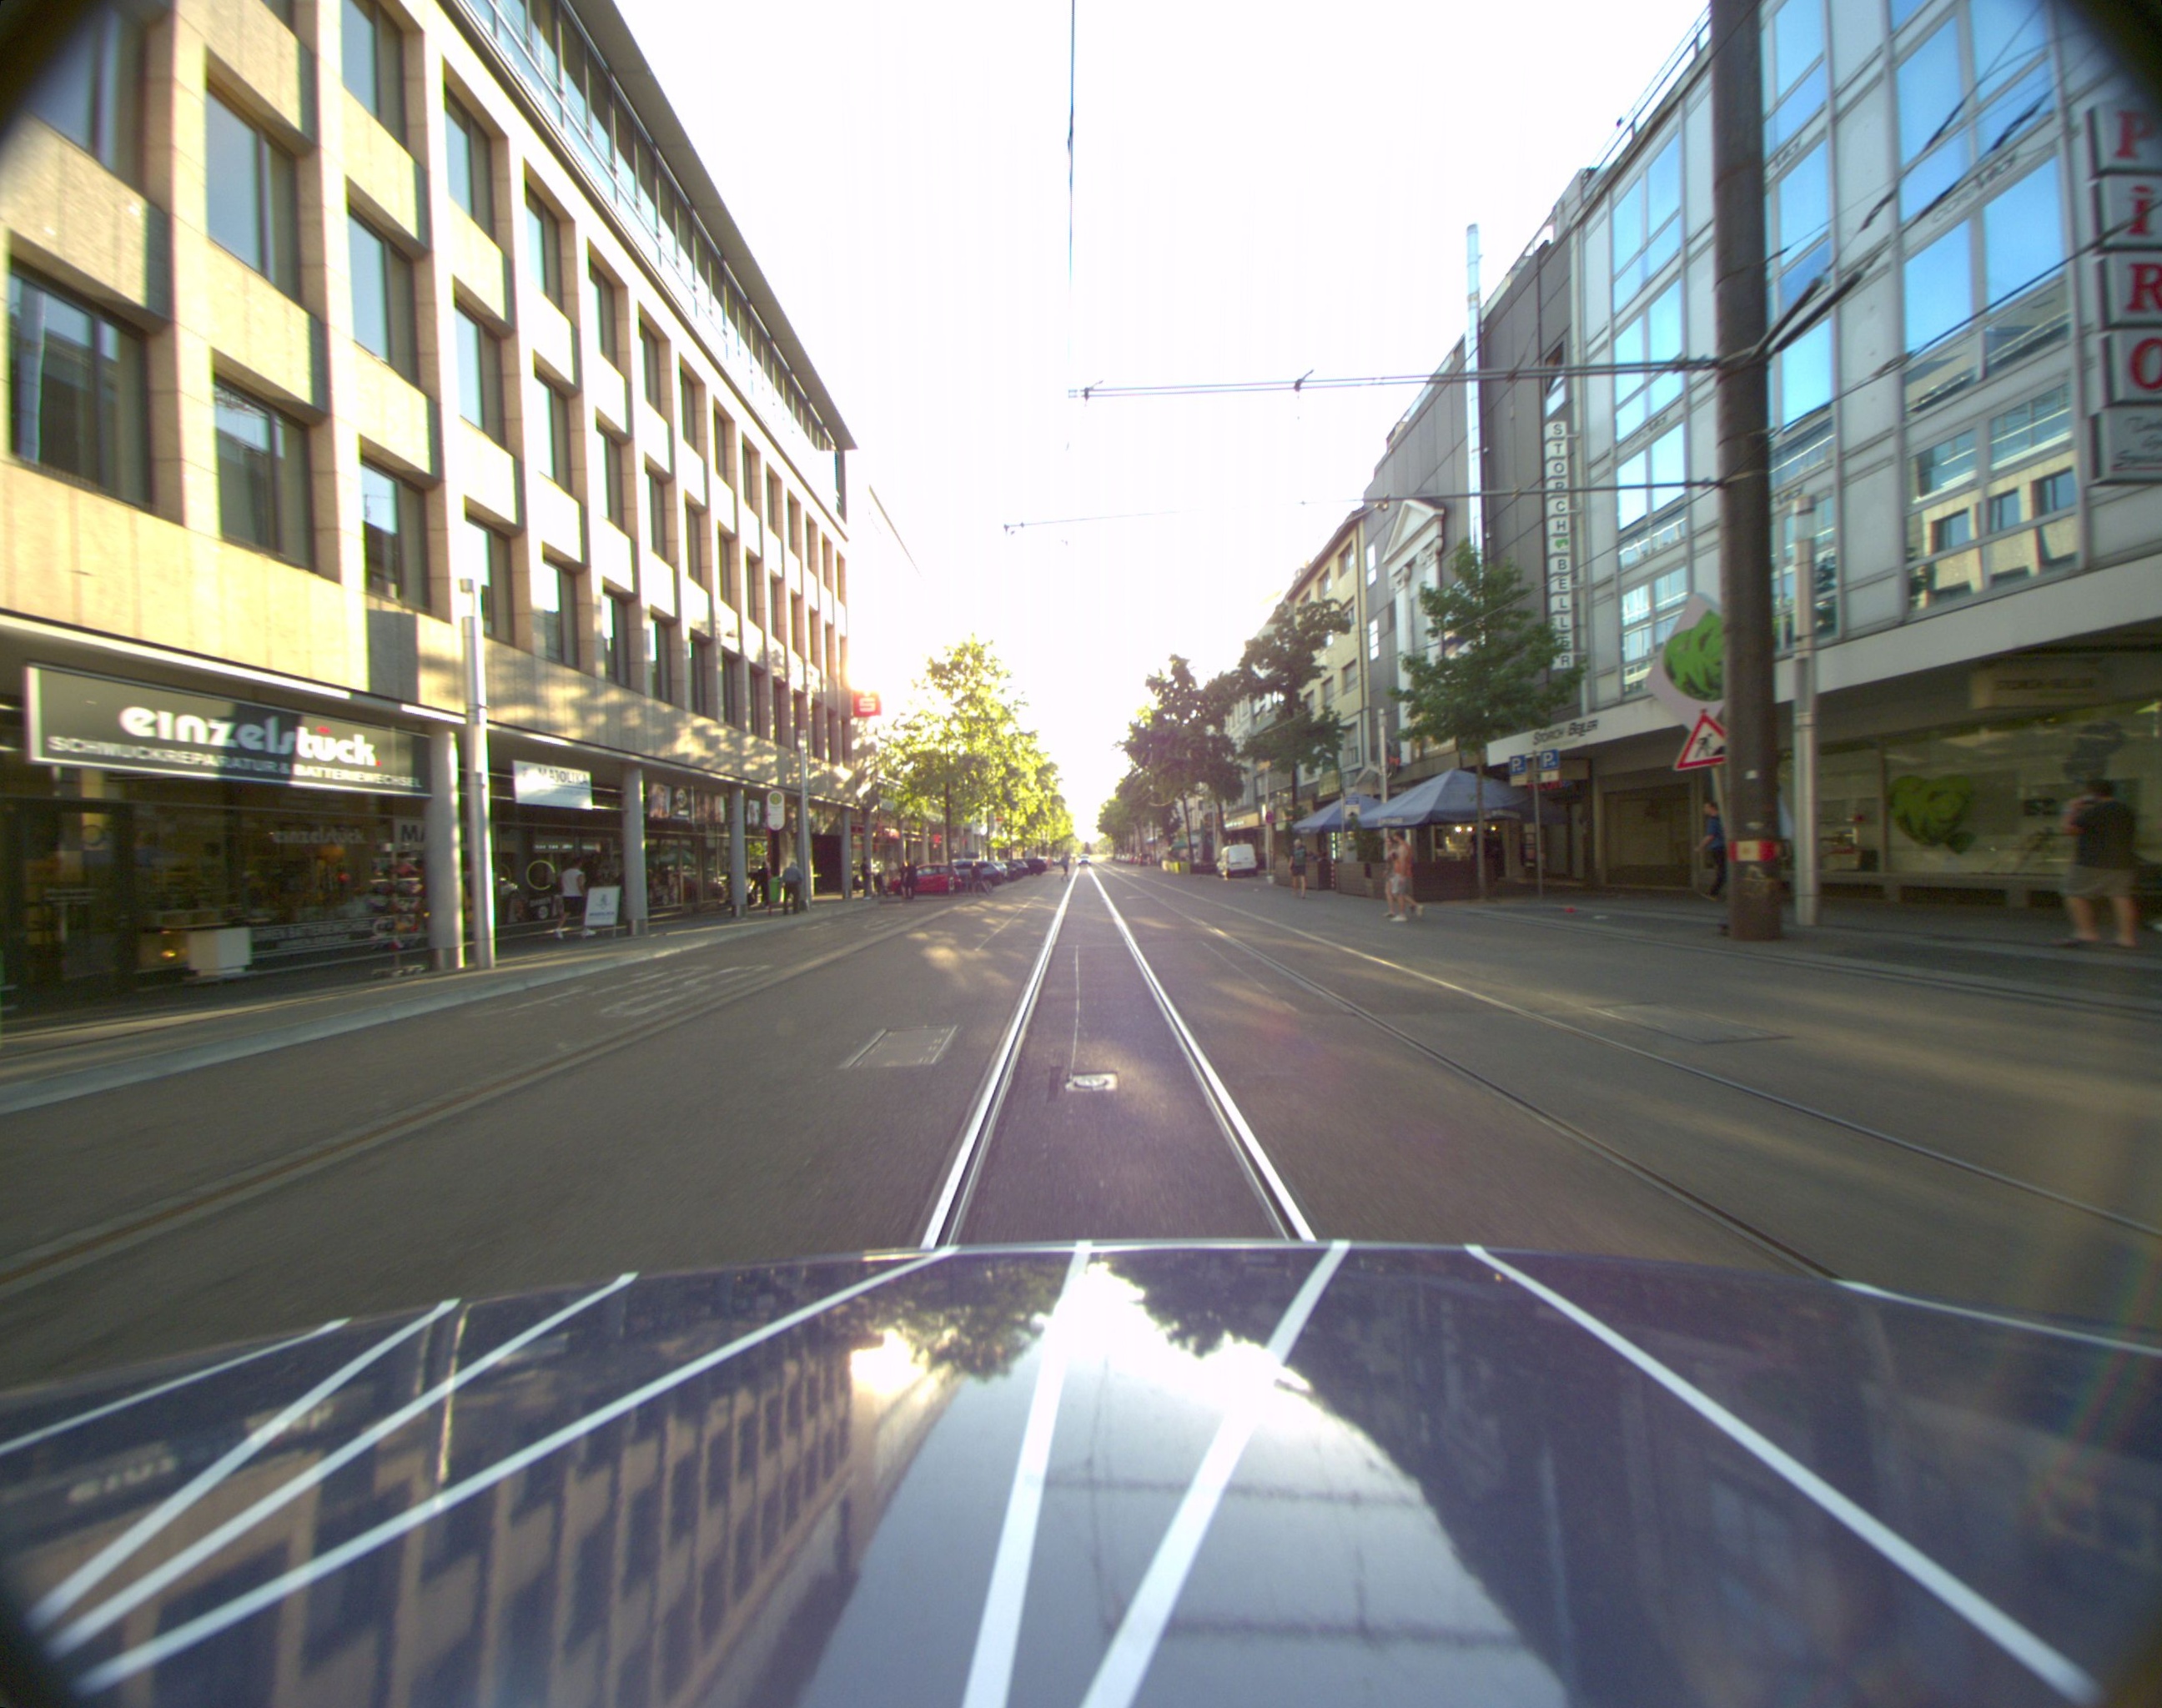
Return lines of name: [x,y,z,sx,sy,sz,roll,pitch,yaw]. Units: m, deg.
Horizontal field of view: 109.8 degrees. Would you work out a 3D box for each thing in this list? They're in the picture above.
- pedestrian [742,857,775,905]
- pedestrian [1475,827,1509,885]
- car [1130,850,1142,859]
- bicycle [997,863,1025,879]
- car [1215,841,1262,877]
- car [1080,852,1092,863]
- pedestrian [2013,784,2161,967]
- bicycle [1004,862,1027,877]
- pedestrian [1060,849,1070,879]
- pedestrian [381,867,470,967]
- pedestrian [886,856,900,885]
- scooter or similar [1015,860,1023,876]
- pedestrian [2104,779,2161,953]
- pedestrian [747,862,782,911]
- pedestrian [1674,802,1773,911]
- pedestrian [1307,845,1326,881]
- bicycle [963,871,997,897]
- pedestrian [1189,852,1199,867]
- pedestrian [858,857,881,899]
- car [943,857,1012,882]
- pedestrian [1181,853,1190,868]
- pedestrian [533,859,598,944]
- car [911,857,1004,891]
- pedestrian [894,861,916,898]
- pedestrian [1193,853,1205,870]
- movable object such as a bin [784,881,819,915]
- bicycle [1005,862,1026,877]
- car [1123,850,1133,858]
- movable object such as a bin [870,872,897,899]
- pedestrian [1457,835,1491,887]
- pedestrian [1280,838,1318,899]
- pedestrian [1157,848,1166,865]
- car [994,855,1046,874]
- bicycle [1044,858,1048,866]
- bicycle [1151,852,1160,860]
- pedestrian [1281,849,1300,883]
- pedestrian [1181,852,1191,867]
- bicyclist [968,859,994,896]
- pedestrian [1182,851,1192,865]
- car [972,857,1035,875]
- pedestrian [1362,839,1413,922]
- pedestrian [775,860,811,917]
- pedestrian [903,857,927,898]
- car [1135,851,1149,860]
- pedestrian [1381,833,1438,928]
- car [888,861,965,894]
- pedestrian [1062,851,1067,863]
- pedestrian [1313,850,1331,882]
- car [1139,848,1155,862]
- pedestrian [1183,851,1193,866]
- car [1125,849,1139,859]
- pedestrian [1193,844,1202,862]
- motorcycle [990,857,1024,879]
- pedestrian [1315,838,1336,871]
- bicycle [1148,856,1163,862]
pedestrian: [-12.347,1.026,29.112,0.846,1.774,0.782,-2,1,1]
pedestrian: [12.616,0.066,23.322,0.598,1.735,0.671,-4,1,1]
car: [9.365,0.064,128.950,1.664,1.397,4.140,-5,0,1]
bicycle: [-5.123,1.210,55.347,1.899,1.113,0.666,0,1,-29]
car: [9.134,0.266,44.424,1.800,1.854,4.553,-5,0,1]
car: [0.859,0.528,120.906,1.827,1.603,3.796,-2,0,1]
pedestrian: [10.458,0.199,7.767,0.624,1.737,0.933,-4,1,1]
bicycle: [-5.104,1.216,59.564,1.566,1.082,0.867,1,-1,-30]
pedestrian: [-1.032,0.652,49.045,0.584,1.908,0.663,0,1,2]
pedestrian: [-11.703,1.093,13.593,0.746,1.690,0.858,-2,1,1]
pedestrian: [-11.254,0.992,45.523,0.626,1.733,0.600,-1,1,3]
scooter or similar: [-4.990,1.140,61.120,0.452,1.269,1.306,2,1,-1]
pedestrian: [11.393,0.109,7.728,0.624,1.793,0.933,-4,1,1]
pedestrian: [-10.648,1.068,25.591,0.697,1.580,0.925,-2,1,1]
pedestrian: [12.001,0.050,14.230,0.803,1.912,1.071,-5,0,-3]
pedestrian: [9.688,0.376,31.281,0.551,1.421,0.582,-3,1,0]
bicycle: [-4.547,1.347,34.421,0.719,0.989,2.061,-4,0,15]
pedestrian: [9.602,0.438,64.696,0.620,1.238,0.697,-5,1,0]
pedestrian: [-8.729,0.979,31.338,0.687,1.721,0.634,1,1,42]
car: [-6.853,0.991,50.525,4.167,1.562,1.849,0,0,-33]
pedestrian: [8.862,0.532,64.462,0.620,1.238,0.697,-5,1,0]
pedestrian: [-11.278,1.022,16.649,0.746,1.782,0.858,-2,1,1]
car: [-6.288,1.005,38.850,4.363,1.642,1.690,0,0,-31]
pedestrian: [-7.454,1.074,32.266,0.606,1.543,0.691,1,1,44]
pedestrian: [8.948,0.564,57.520,0.658,1.186,0.798,-5,1,0]
movable object such as a bin: [-8.207,1.297,22.360,0.691,0.918,0.718,-4,0,1]
bicycle: [-4.964,1.168,57.443,0.480,1.157,1.698,2,1,40]
car: [9.705,0.034,156.955,1.897,1.458,4.616,-5,0,1]
movable object such as a bin: [-8.281,1.305,31.836,0.687,1.057,0.835,1,1,42]
pedestrian: [12.064,0.206,23.337,0.598,1.524,0.671,-4,1,1]
pedestrian: [6.612,0.427,23.100,0.843,1.790,0.790,-4,1,1]
pedestrian: [8.581,0.271,80.634,0.759,1.781,0.686,-4,1,-2]
car: [-6.032,1.024,74.875,4.674,1.753,1.990,0,0,-29]
bicycle: [-4.508,1.080,98.689,0.494,0.976,1.930,-2,0,-2]
bicycle: [11.133,0.317,113.182,0.760,1.115,2.045,-5,1,-11]
pedestrian: [8.627,0.481,31.337,0.551,1.348,0.582,-3,1,0]
pedestrian: [9.075,0.504,65.579,0.620,1.238,0.697,-5,1,0]
bicyclist: [-4.535,1.055,34.533,0.778,1.603,0.913,-4,0,14]
pedestrian: [9.874,0.369,70.696,0.691,1.304,0.807,-4,1,1]
car: [-6.625,1.019,65.258,5.071,1.460,1.972,1,0,-35]
pedestrian: [6.263,0.532,15.560,0.850,1.628,0.763,-3,1,20]
pedestrian: [-8.273,0.982,21.831,0.683,1.563,0.632,-4,1,1]
pedestrian: [-6.842,0.950,31.257,0.679,1.675,0.697,1,1,34]
car: [9.547,0.282,119.951,1.722,1.238,4.507,-5,0,0]
pedestrian: [6.236,0.495,14.463,0.850,1.731,0.836,-3,1,20]
car: [-7.301,1.089,35.834,3.401,1.472,1.664,0,0,-19]
pedestrian: [-2.574,0.512,120.298,0.705,1.858,0.792,-2,1,-2]
pedestrian: [9.512,0.473,29.969,0.496,1.221,0.535,-3,1,0]
car: [9.190,0.126,106.471,1.862,1.821,4.559,-3,0,2]
pedestrian: [9.837,0.399,69.820,0.709,1.339,0.781,-4,1,3]
car: [9.218,0.022,138.470,1.870,1.679,4.950,-5,0,-3]
pedestrian: [12.109,-0.144,79.035,0.685,1.805,0.765,-4,1,16]
motorcycle: [-5.249,1.008,53.799,2.324,1.501,0.856,0,1,-43]
pedestrian: [12.873,0.019,39.957,0.668,1.676,1.005,-4,1,0]
bicycle: [9.567,0.678,97.936,1.799,0.605,1.282,-3,0,4]
